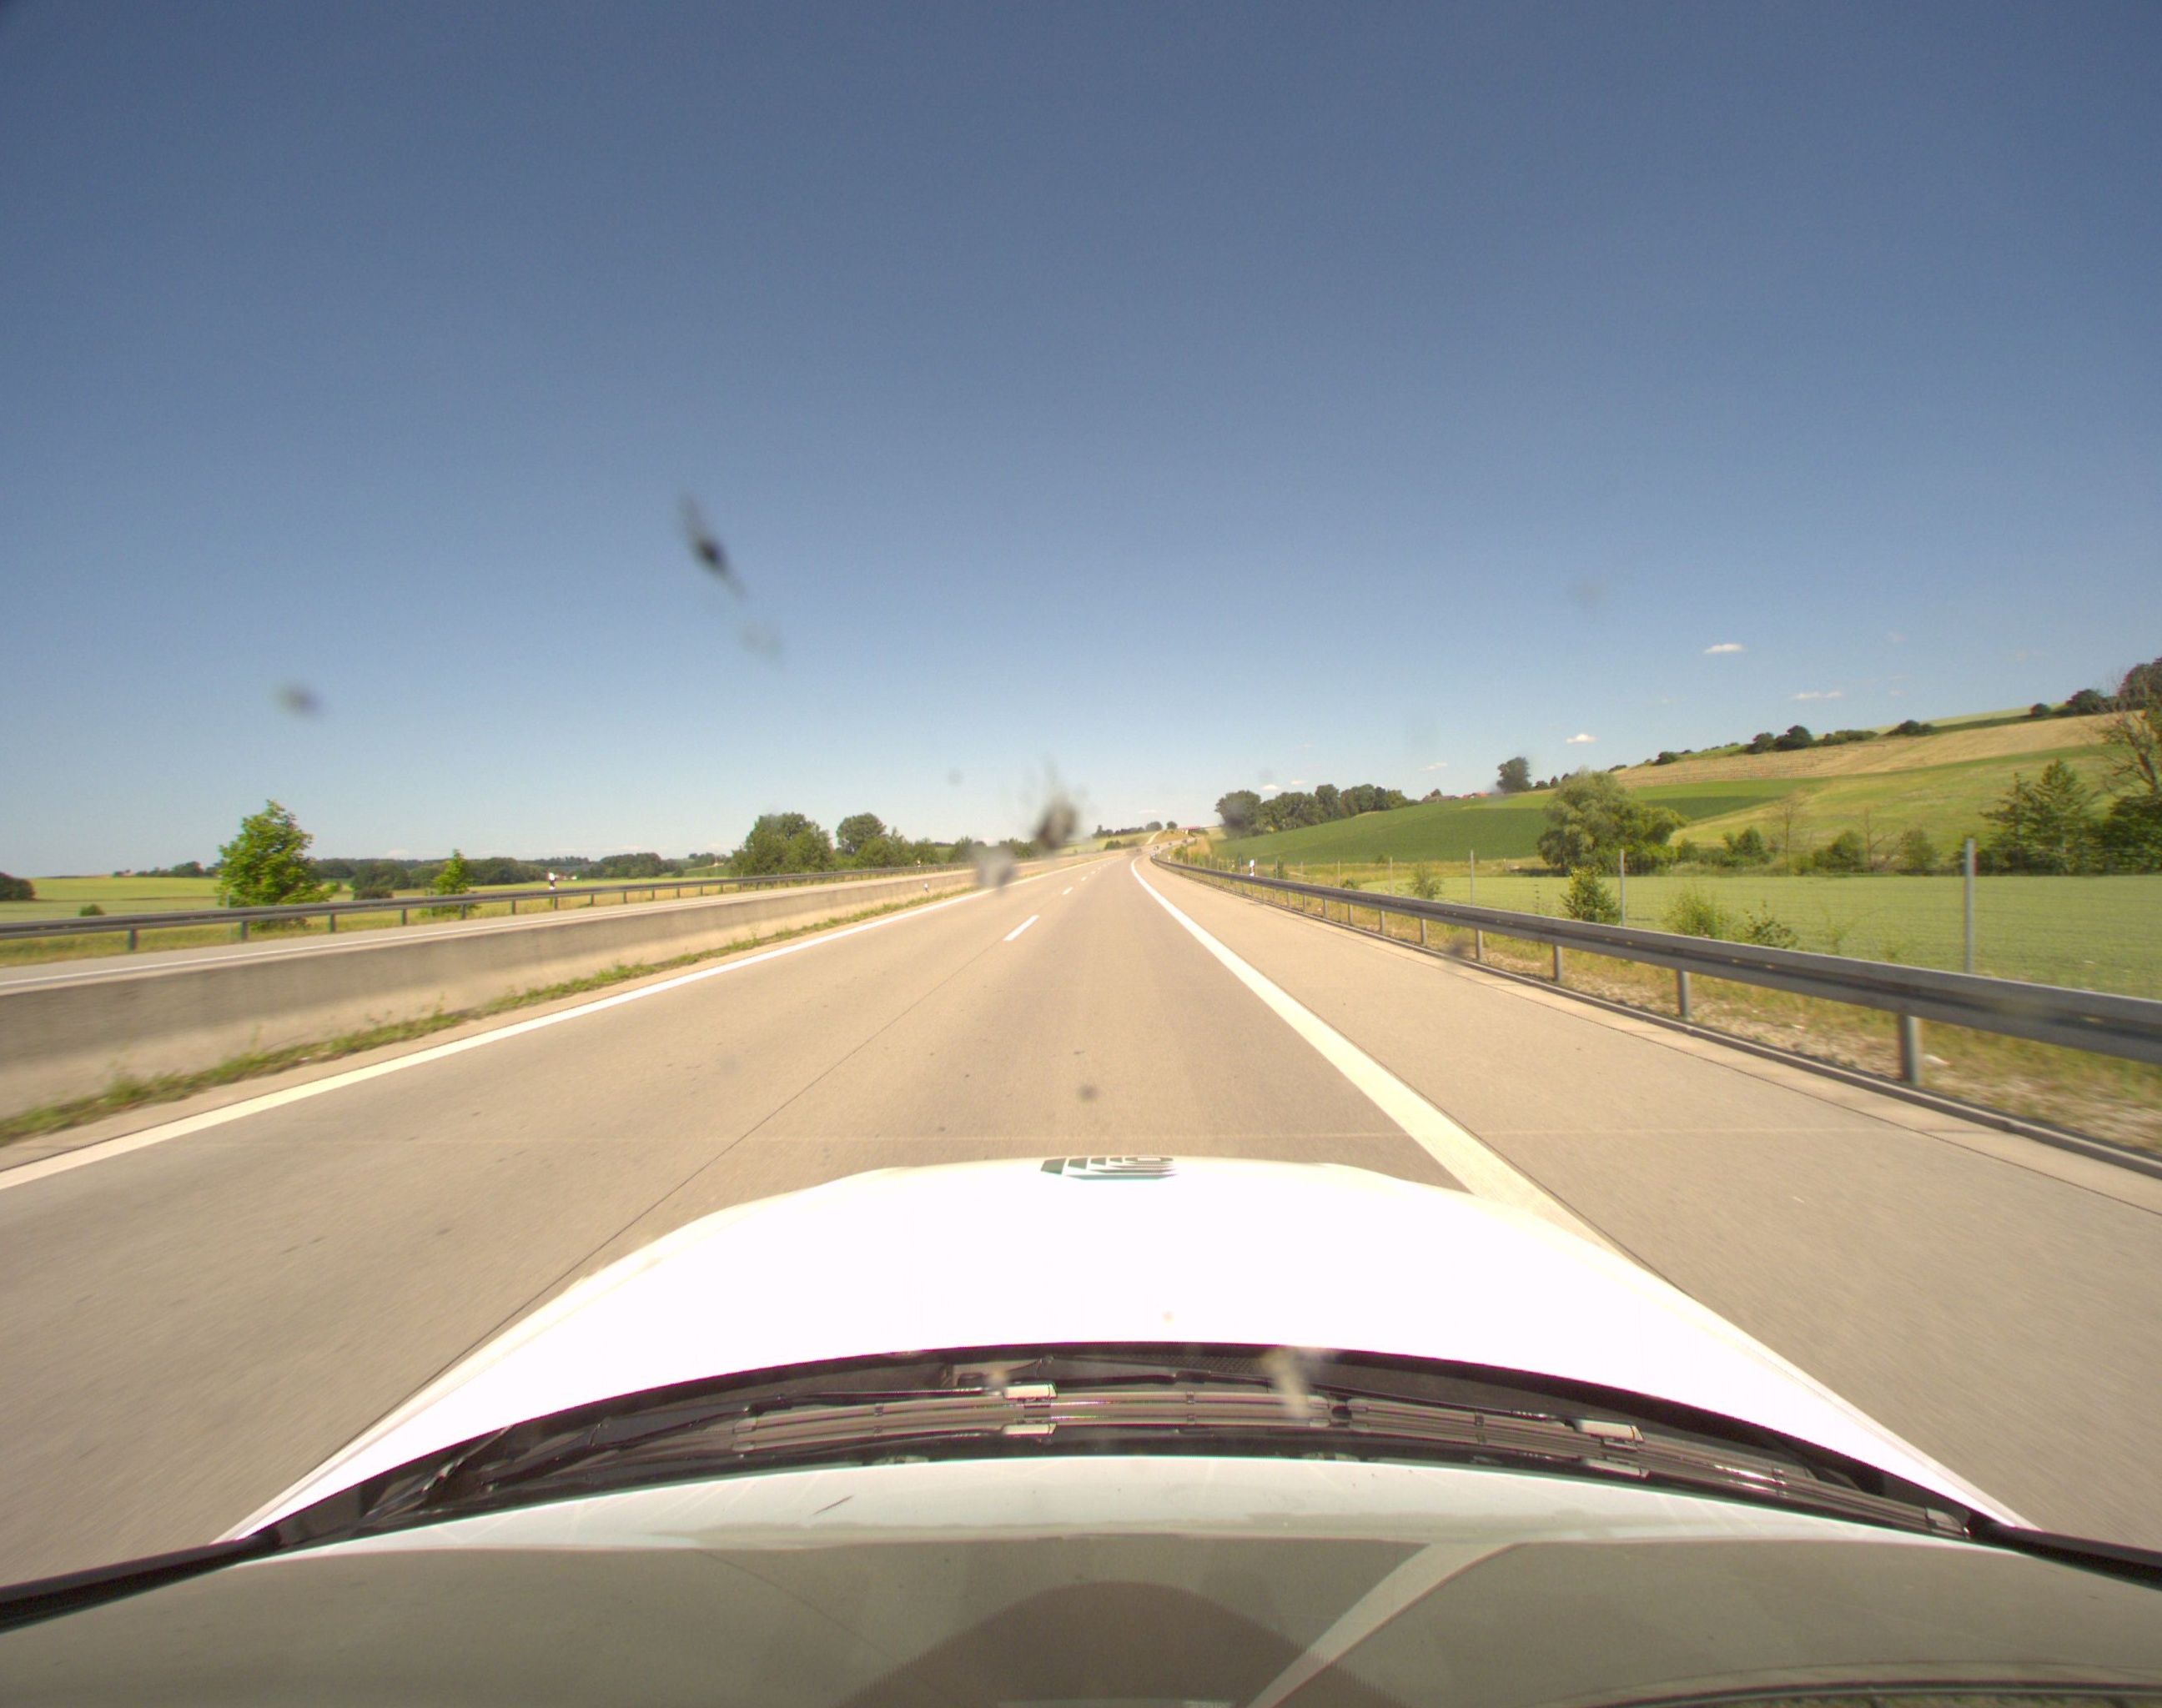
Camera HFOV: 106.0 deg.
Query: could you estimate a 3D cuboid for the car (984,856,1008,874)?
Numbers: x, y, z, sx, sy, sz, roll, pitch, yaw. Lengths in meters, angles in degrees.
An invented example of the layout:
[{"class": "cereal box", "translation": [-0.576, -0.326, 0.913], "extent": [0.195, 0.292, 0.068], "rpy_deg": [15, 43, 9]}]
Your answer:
[{"class": "car", "translation": [-7.947, 1.044, 76.519], "extent": [1.704, 1.589, 4.628], "rpy_deg": [0, -1, 1]}]
